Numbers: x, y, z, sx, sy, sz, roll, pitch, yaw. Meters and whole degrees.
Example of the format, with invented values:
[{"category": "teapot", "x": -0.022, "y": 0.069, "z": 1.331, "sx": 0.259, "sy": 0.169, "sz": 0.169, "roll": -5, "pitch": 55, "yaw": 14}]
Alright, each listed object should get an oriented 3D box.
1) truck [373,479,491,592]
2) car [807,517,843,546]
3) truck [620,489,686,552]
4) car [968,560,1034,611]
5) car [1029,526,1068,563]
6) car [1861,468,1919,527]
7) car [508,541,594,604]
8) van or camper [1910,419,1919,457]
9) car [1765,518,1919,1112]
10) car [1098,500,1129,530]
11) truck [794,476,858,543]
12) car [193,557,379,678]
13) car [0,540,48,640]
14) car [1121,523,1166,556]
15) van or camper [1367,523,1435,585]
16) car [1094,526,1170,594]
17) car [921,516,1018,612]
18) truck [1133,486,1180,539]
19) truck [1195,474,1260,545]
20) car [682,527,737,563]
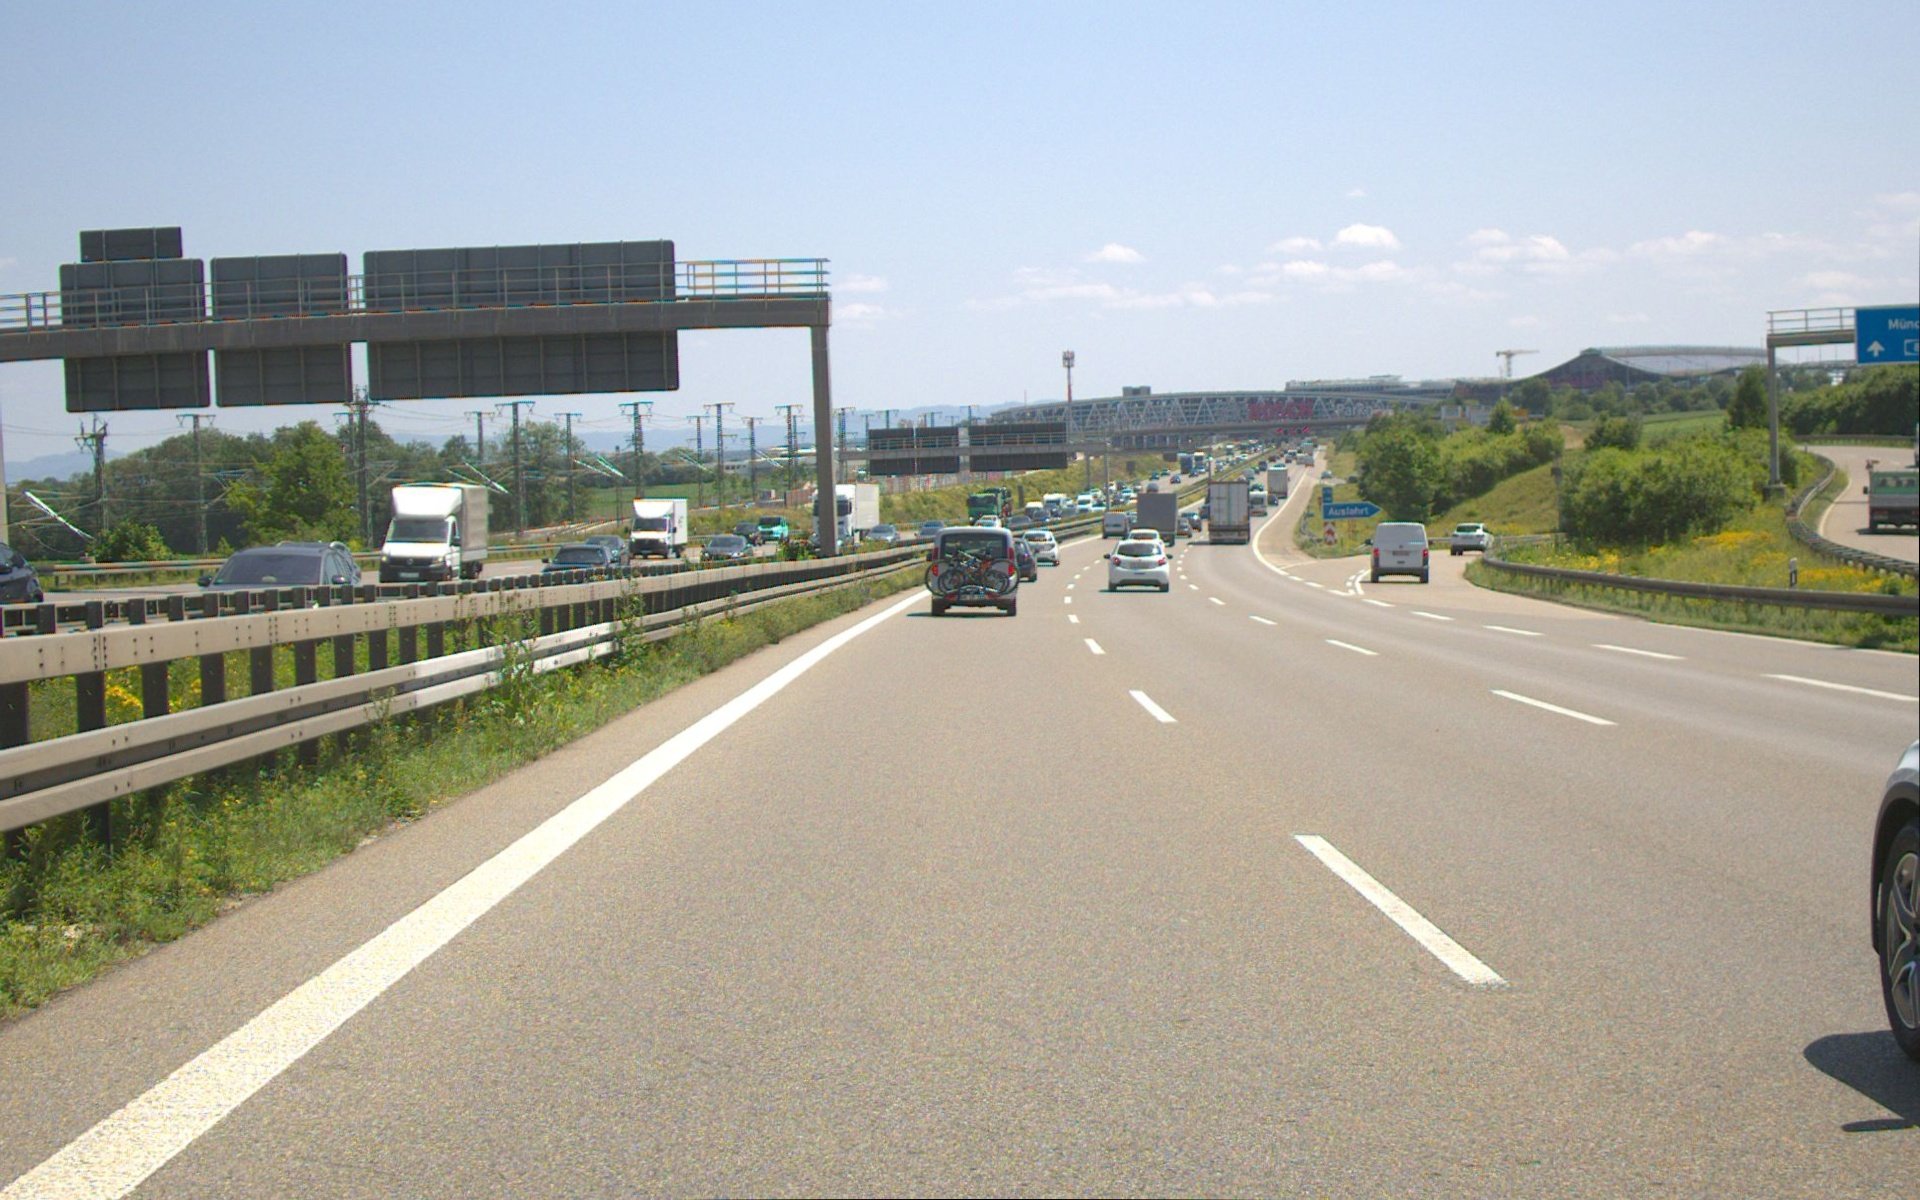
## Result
[{"category": "truck", "x": -15.774, "y": -1.907, "z": 103.104, "sx": 2.376, "sy": 3.266, "sz": 7.661, "roll": 0, "pitch": 1, "yaw": 0}, {"category": "car", "x": -7.448, "y": -3.789, "z": 189.905, "sx": 1.742, "sy": 1.555, "sz": 4.000, "roll": 0, "pitch": 1, "yaw": 2}, {"category": "truck", "x": -15.718, "y": -4.105, "z": 176.550, "sx": 2.320, "sy": 3.156, "sz": 8.112, "roll": 0, "pitch": 1, "yaw": 2}, {"category": "car", "x": 1.360, "y": -0.492, "z": 112.512, "sx": 1.927, "sy": 1.621, "sz": 4.517, "roll": 0, "pitch": 1, "yaw": 4}, {"category": "car", "x": 3.792, "y": -2.356, "z": 146.675, "sx": 1.576, "sy": 1.547, "sz": 3.964, "roll": 0, "pitch": 1, "yaw": 3}, {"category": "car", "x": 32.917, "y": -3.579, "z": 120.867, "sx": 1.994, "sy": 2.007, "sz": 3.999, "roll": 0, "pitch": 1, "yaw": 9}, {"category": "car", "x": -10.946, "y": -0.743, "z": 92.243, "sx": 1.748, "sy": 1.619, "sz": 4.831, "roll": 0, "pitch": 1, "yaw": 0}, {"category": "van or camper", "x": 55.349, "y": -9.154, "z": 194.454, "sx": 2.530, "sy": 2.007, "sz": 4.459, "roll": 0, "pitch": 1, "yaw": 8}, {"category": "car", "x": 3.625, "y": 0.604, "z": 8.621, "sx": 1.898, "sy": 1.641, "sz": 4.999, "roll": 0, "pitch": 1, "yaw": -2}, {"category": "car", "x": 10.807, "y": -5.957, "z": 241.554, "sx": 2.186, "sy": 1.996, "sz": 4.000, "roll": 0, "pitch": 3, "yaw": 3}, {"category": "truck", "x": -8.598, "y": -5.841, "z": 221.600, "sx": 3.248, "sy": 4.195, "sz": 7.692, "roll": 0, "pitch": 1, "yaw": 5}, {"category": "car", "x": -9.332, "y": 0.206, "z": 47.891, "sx": 1.675, "sy": 1.609, "sz": 4.362, "roll": 0, "pitch": 1, "yaw": 1}, {"category": "car", "x": -16.874, "y": -0.179, "z": 57.682, "sx": 1.847, "sy": 1.650, "sz": 4.910, "roll": 0, "pitch": 1, "yaw": 0}, {"category": "car", "x": 8.454, "y": -2.785, "z": 158.030, "sx": 1.982, "sy": 1.468, "sz": 4.000, "roll": 0, "pitch": 1, "yaw": 4}, {"category": "van or camper", "x": 14.589, "y": -1.520, "z": 113.886, "sx": 2.156, "sy": 2.007, "sz": 4.303, "roll": 0, "pitch": 1, "yaw": 7}, {"category": "car", "x": 4.879, "y": -1.141, "z": 98.114, "sx": 1.926, "sy": 1.912, "sz": 4.518, "roll": 0, "pitch": 1, "yaw": 0}, {"category": "car", "x": 0.182, "y": -0.747, "z": 71.126, "sx": 1.926, "sy": 1.912, "sz": 4.948, "roll": 0, "pitch": 1, "yaw": 0}, {"category": "truck", "x": 12.098, "y": -5.357, "z": 211.294, "sx": 2.703, "sy": 3.098, "sz": 10.657, "roll": 0, "pitch": 1, "yaw": 4}, {"category": "truck", "x": 17.098, "y": -5.842, "z": 219.666, "sx": 4.040, "sy": 4.247, "sz": 11.757, "roll": 0, "pitch": 3, "yaw": 4}, {"category": "car", "x": -10.332, "y": -2.279, "z": 142.121, "sx": 1.790, "sy": 1.459, "sz": 4.859, "roll": 0, "pitch": 1, "yaw": 2}]
